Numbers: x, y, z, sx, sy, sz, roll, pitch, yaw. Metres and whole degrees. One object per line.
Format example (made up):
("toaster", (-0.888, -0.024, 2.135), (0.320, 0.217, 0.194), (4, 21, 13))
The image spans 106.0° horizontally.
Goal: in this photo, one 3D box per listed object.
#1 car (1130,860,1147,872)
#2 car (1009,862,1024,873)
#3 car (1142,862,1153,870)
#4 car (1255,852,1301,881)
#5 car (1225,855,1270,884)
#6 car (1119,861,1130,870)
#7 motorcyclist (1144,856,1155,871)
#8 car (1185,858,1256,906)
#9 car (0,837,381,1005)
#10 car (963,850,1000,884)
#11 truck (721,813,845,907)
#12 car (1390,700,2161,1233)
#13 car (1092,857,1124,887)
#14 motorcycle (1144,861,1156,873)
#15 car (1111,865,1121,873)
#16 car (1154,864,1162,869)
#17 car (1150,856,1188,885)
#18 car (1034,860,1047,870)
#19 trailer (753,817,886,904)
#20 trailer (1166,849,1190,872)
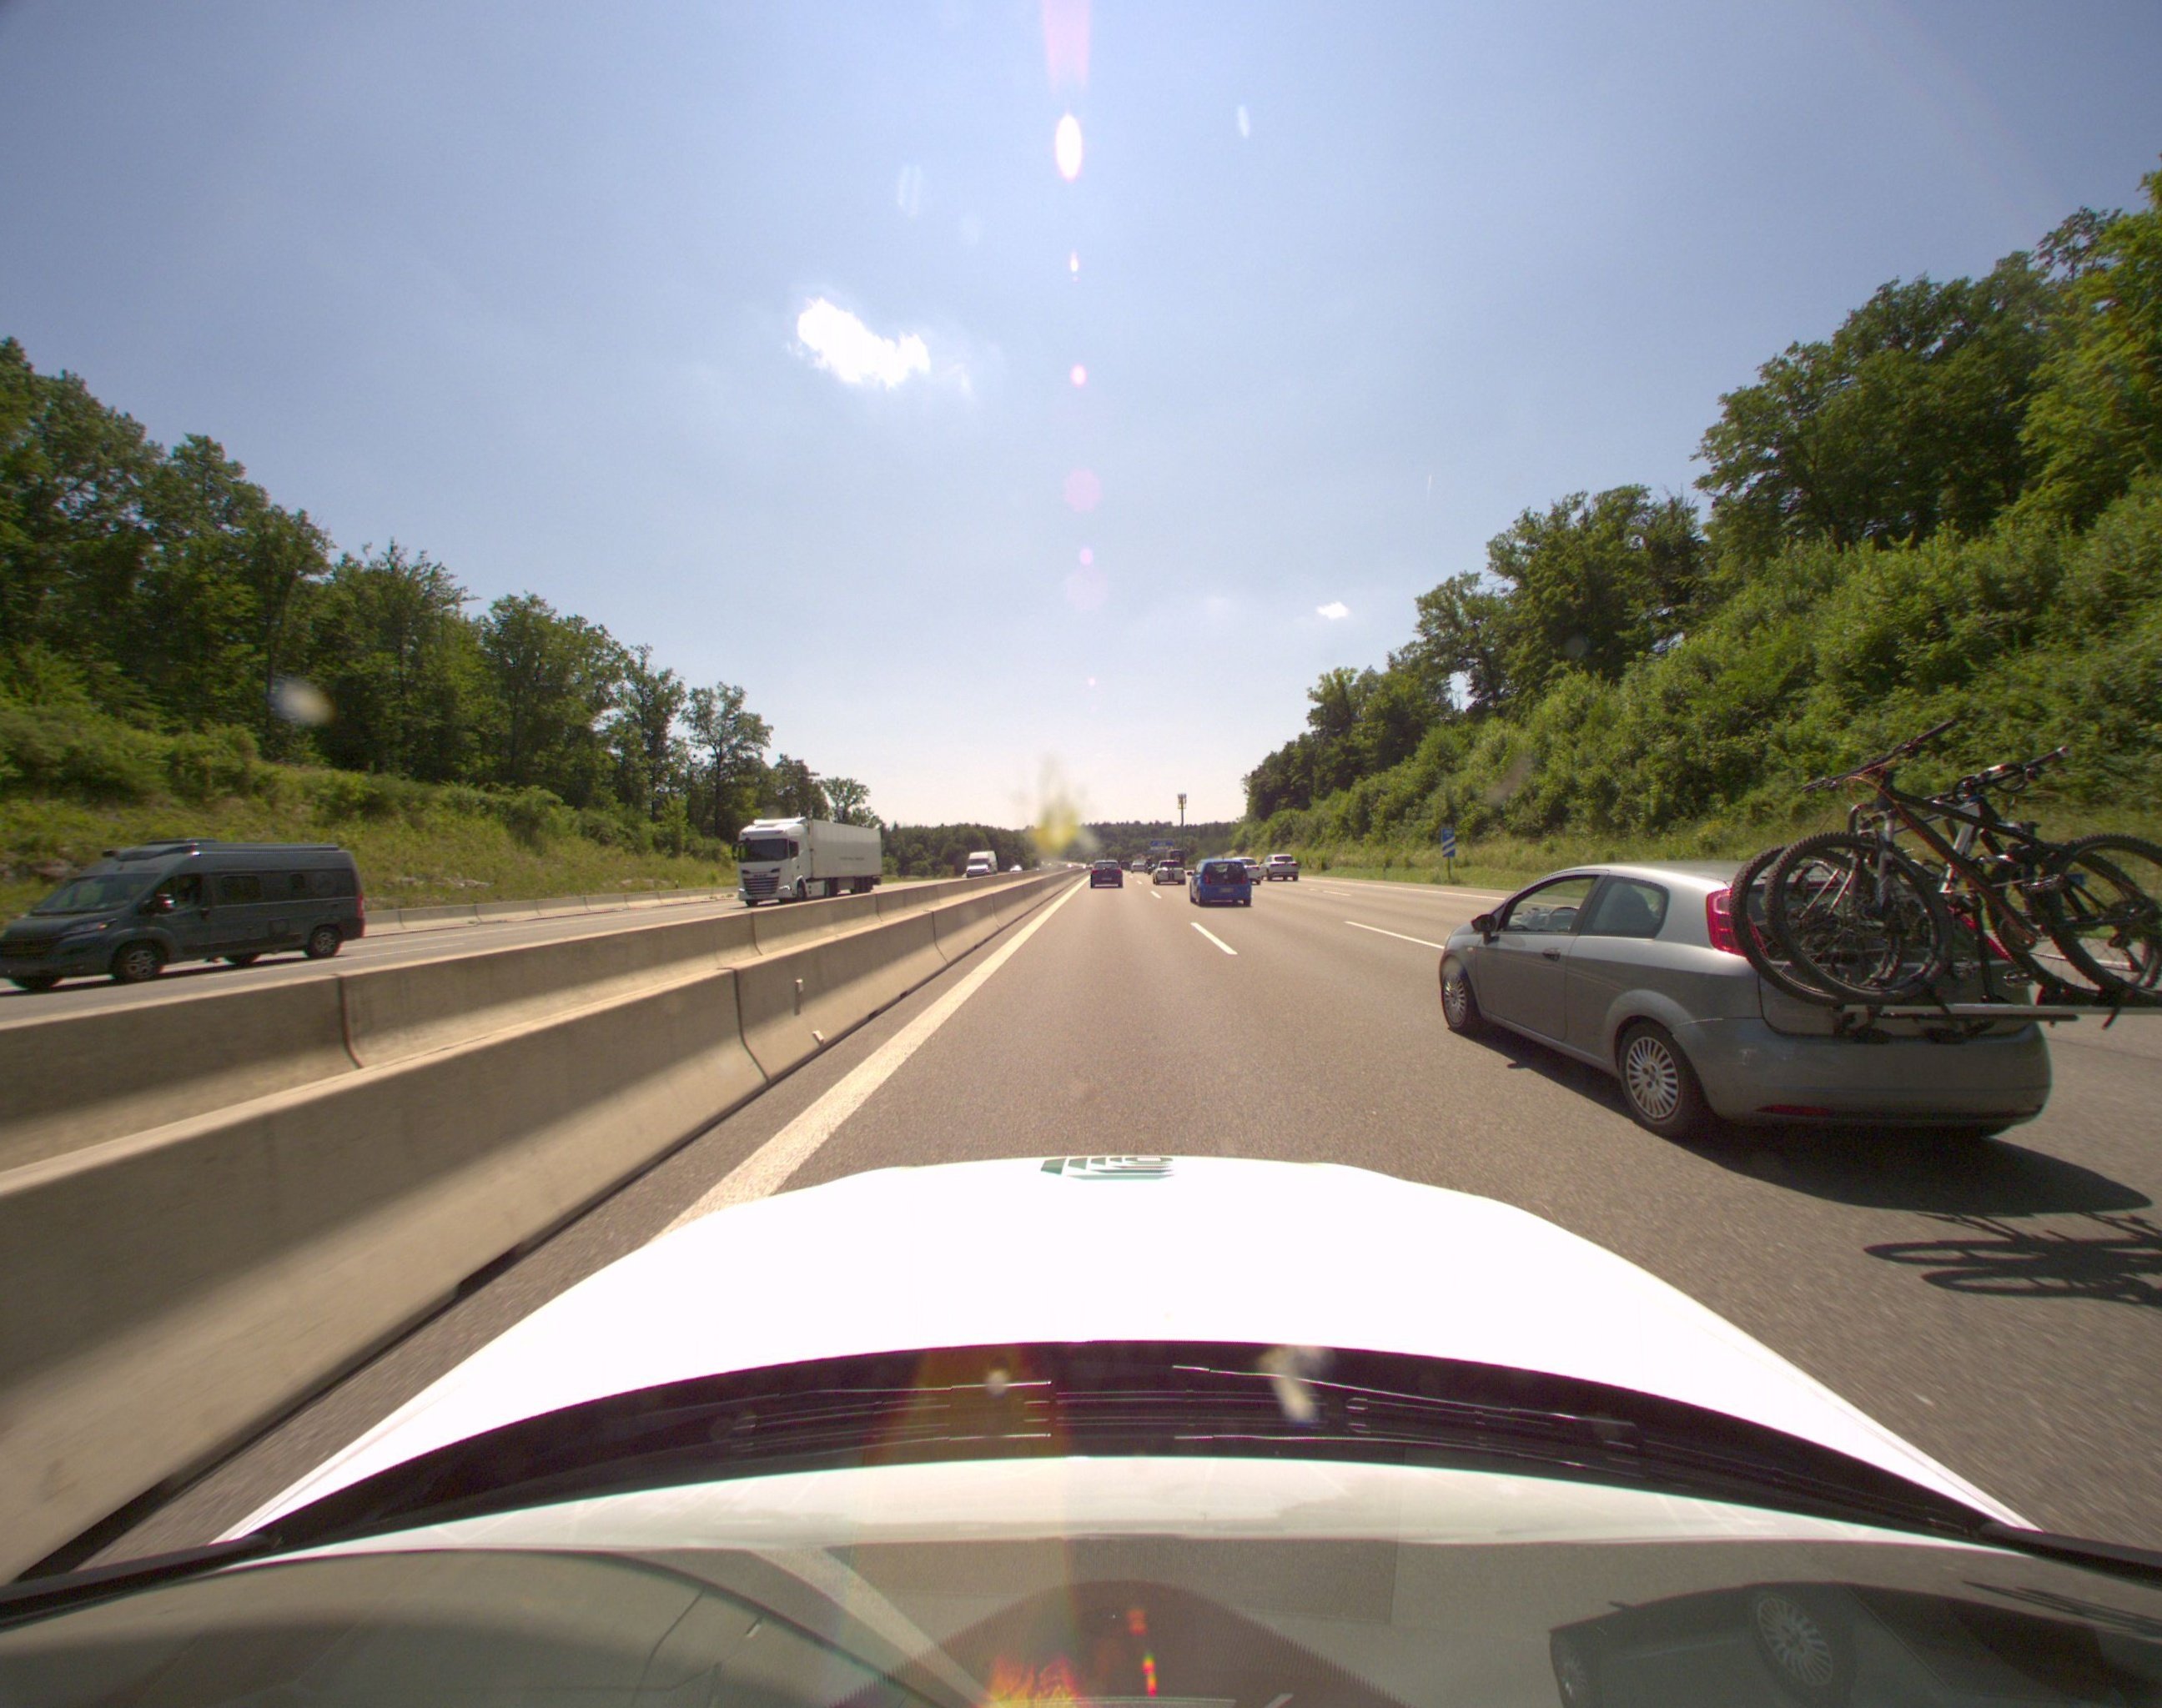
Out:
("car", (6.600, 1.322, 93.943), (1.776, 1.265, 3.461), (-2, 0, 2))
("car", (-10.588, 2.193, 134.284), (1.737, 1.562, 4.425), (-4, -1, 3))
("car", (12.095, 2.126, 147.303), (1.670, 1.431, 3.684), (-2, 0, 0))
("car", (12.473, 0.753, 51.890), (1.794, 1.731, 5.241), (0, 0, 2))
("car", (9.198, 0.827, 45.289), (1.660, 1.433, 4.376), (-2, 0, 1))
("car", (8.607, 2.273, 161.569), (2.090, 1.851, 4.081), (-2, -1, 1))
("motorcyclist", (6.657, 0.906, 78.922), (0.958, 1.437, 1.235), (-3, -1, 2))
("car", (4.425, 0.871, 26.318), (1.730, 1.411, 4.002), (-2, -1, 2))
("car", (-18.157, 1.143, 16.316), (2.132, 2.663, 6.782), (-3, 0, 2))
("car", (-9.043, 1.181, 74.666), (2.078, 2.800, 7.604), (-3, -1, 1))
("truck", (-14.261, 0.284, 39.803), (2.884, 4.069, 7.791), (-2, 0, 1))
("car", (3.933, 0.443, 5.561), (1.954, 2.053, 4.786), (-1, 0, 2))
("car", (1.437, 0.917, 43.326), (1.618, 1.487, 3.687), (-1, 0, 2))
("motorcycle", (6.691, 1.264, 79.011), (0.973, 1.129, 2.272), (-2, 0, 2))
("car", (7.833, 3.285, 182.931), (1.989, 1.684, 4.419), (0, 0, -2))
("car", (19.386, 3.089, 204.560), (1.603, 1.212, 3.459), (-2, -2, 0))
("car", (5.012, 0.927, 46.783), (1.834, 1.552, 4.002), (2, -1, 2))
("car", (-7.171, 1.959, 143.945), (1.794, 1.548, 4.732), (-2, 0, 2))
("trailer", (-14.355, 0.374, 46.505), (2.916, 4.084, 13.838), (-3, -1, 0))
("trailer", (17.159, 1.231, 144.905), (2.847, 3.688, 13.543), (-2, -2, 1))
